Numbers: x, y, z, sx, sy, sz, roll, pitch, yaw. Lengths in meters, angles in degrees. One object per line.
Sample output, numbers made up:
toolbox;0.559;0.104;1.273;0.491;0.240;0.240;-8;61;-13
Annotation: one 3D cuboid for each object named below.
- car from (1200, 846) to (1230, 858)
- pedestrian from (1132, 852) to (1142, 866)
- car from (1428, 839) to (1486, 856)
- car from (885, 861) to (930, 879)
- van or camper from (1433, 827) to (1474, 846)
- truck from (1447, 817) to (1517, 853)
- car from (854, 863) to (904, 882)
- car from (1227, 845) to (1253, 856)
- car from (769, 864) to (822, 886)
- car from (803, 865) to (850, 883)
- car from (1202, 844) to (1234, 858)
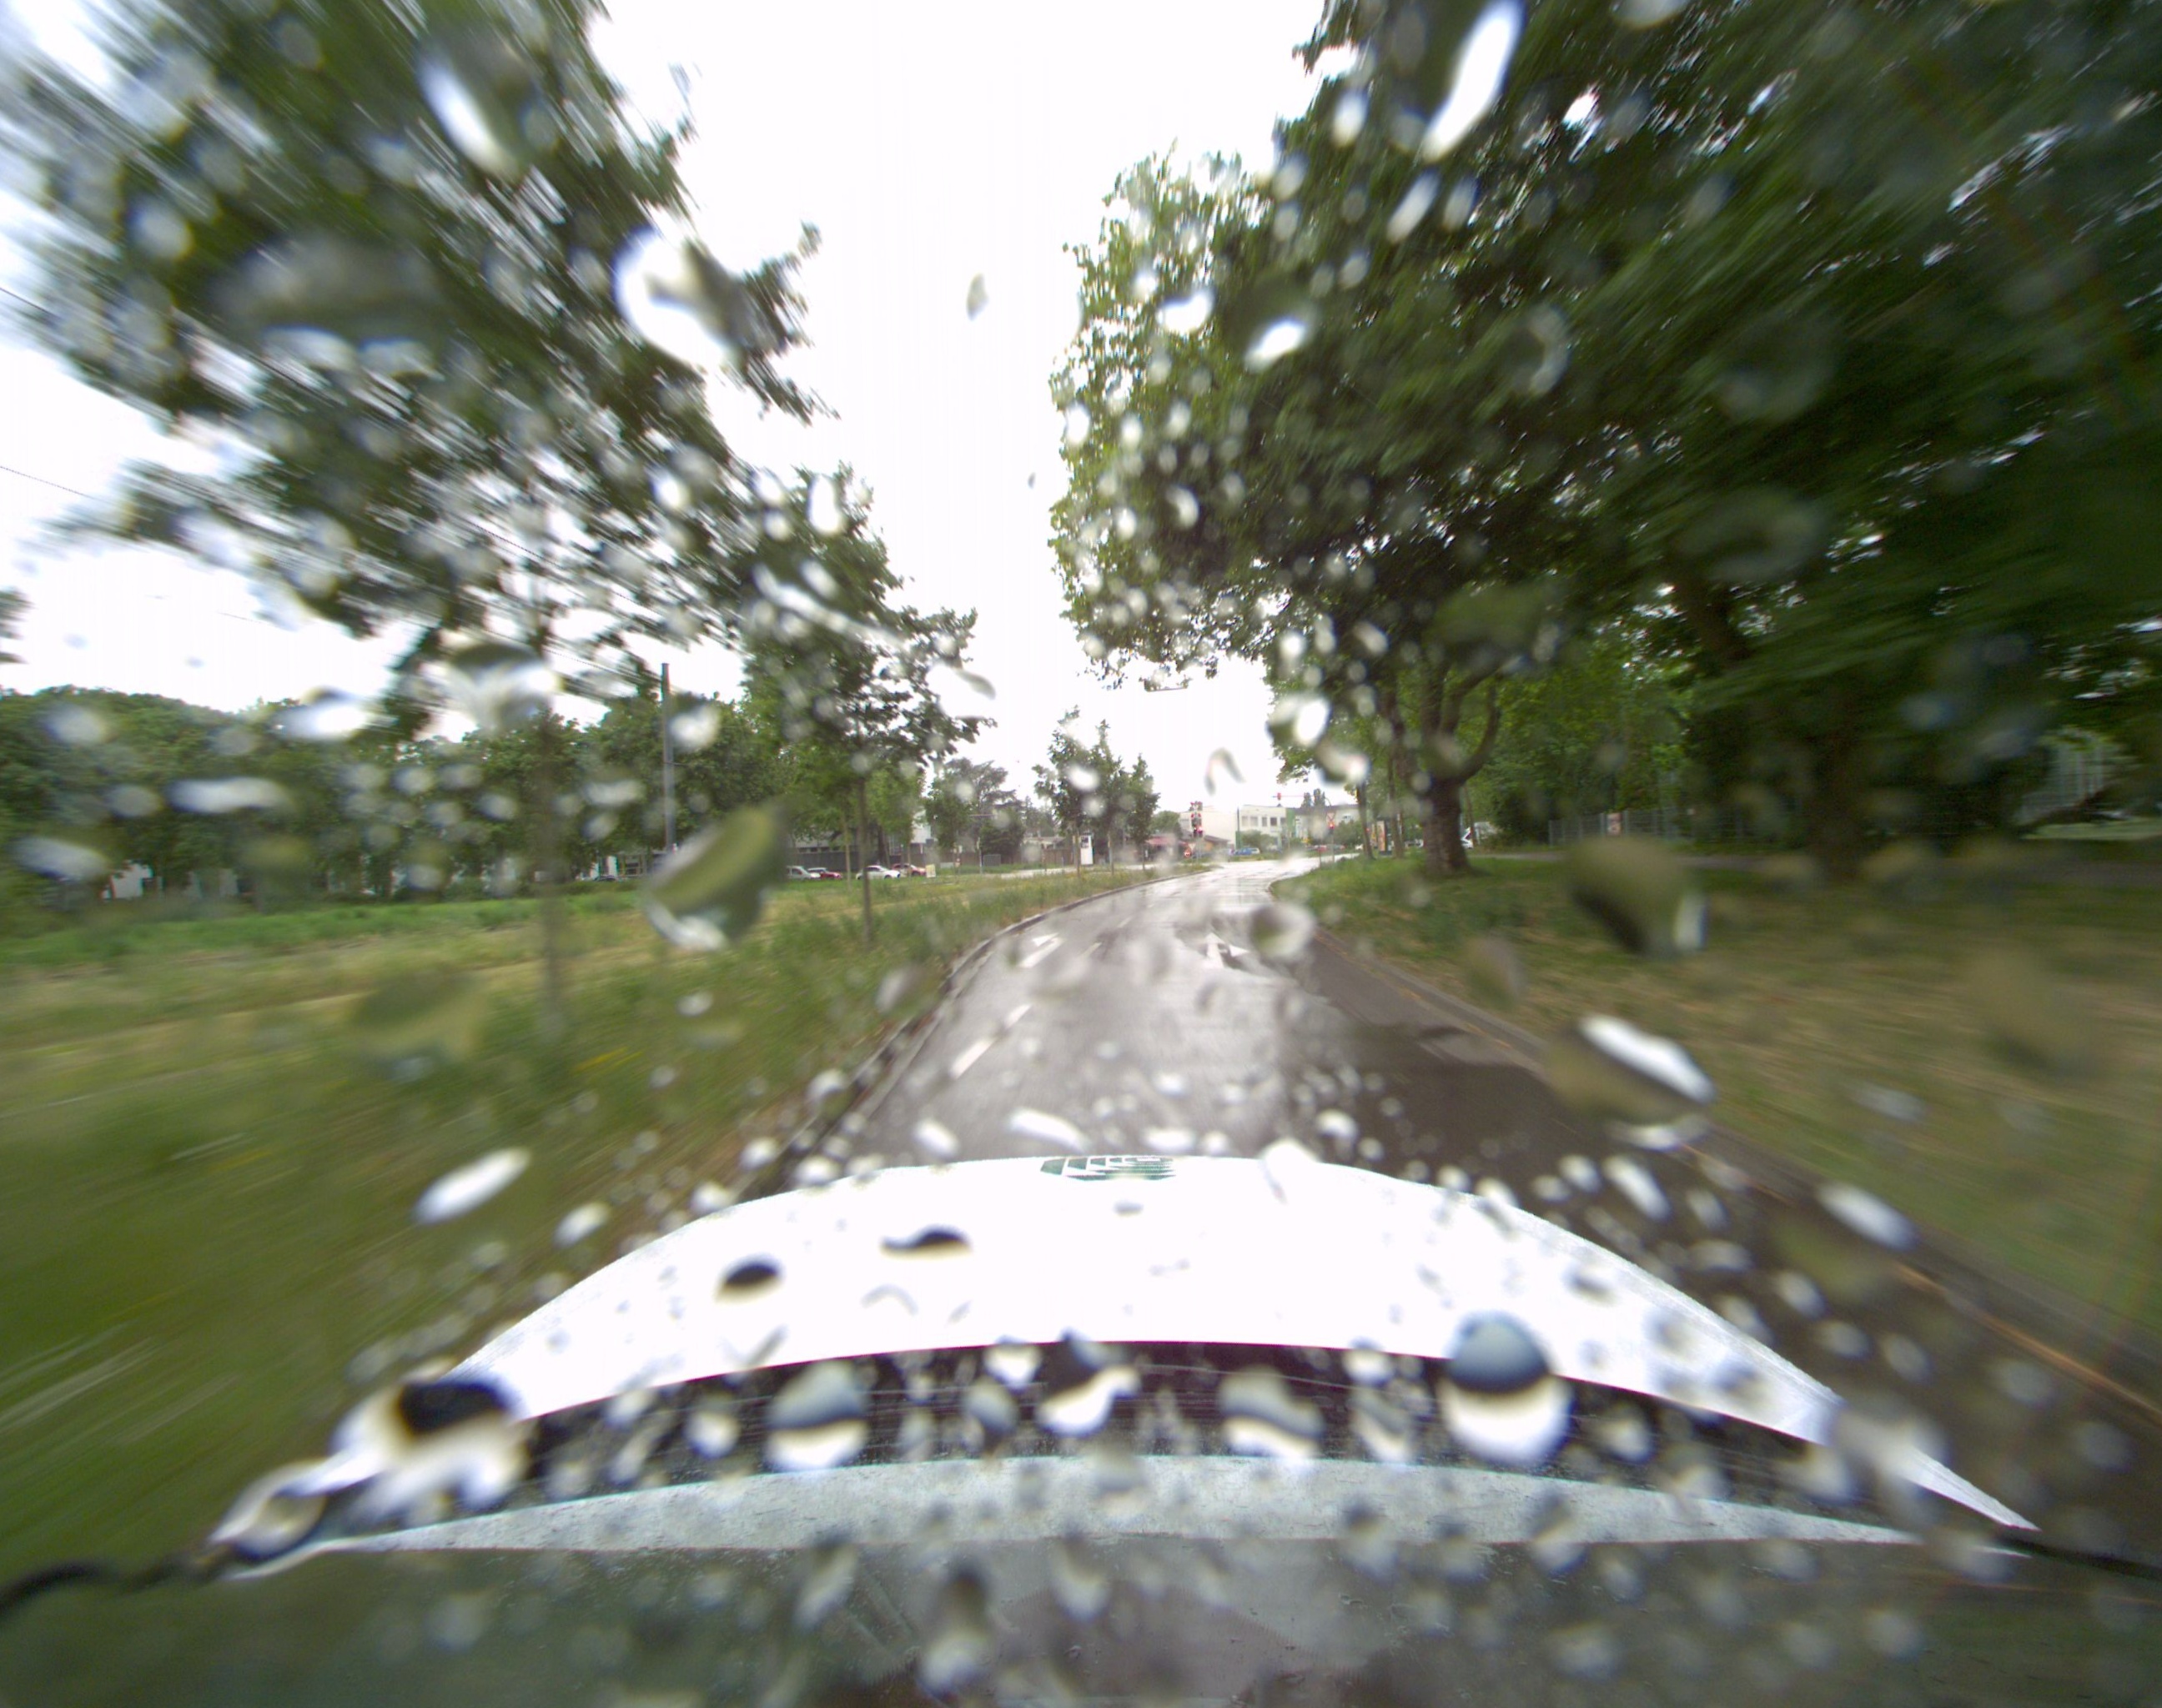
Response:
car;18.828;-0.271;114.319;3.718;1.442;1.772;-3;0;20
pedestrian;7.308;0.618;106.462;0.805;1.763;0.901;-3;-1;-27
car;33.797;-0.571;73.215;4.479;1.390;1.651;-2;0;14
car;-16.501;1.480;77.735;3.799;1.499;1.655;-3;-1;5
van or camper;55.604;-2.584;121.708;5.169;2.697;2.258;0;1;36
truck;37.179;-1.711;75.642;5.429;3.058;1.989;-2;-1;14
car;-18.387;1.641;74.162;4.045;1.499;1.655;-3;-1;5
car;23.814;-0.491;121.610;3.726;1.442;1.768;-3;0;11
car;-26.346;1.915;75.221;4.187;1.796;1.656;-3;1;7
car;-24.404;1.929;78.067;3.892;1.498;1.653;-3;1;2
car;19.817;-0.436;117.662;4.097;1.860;1.683;-3;-1;24
